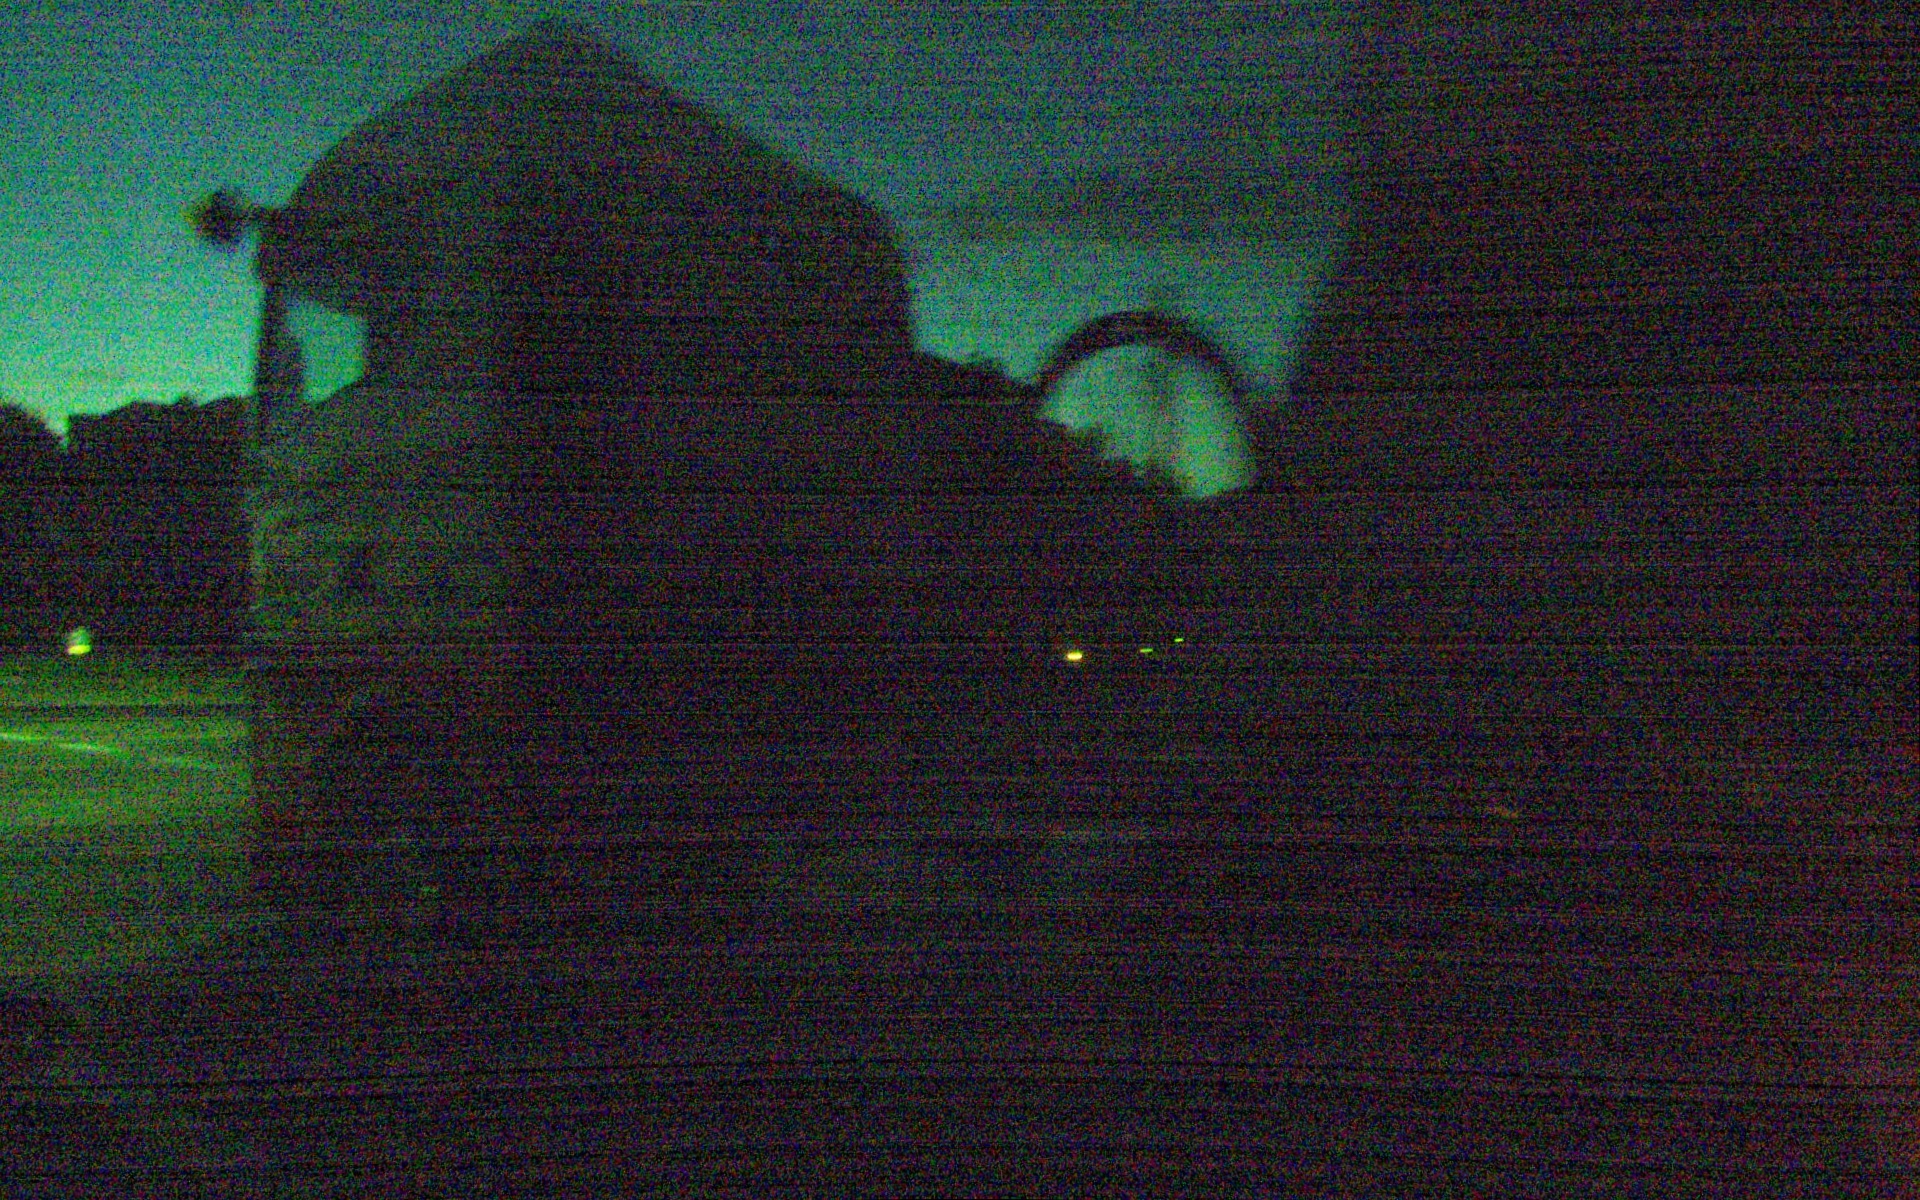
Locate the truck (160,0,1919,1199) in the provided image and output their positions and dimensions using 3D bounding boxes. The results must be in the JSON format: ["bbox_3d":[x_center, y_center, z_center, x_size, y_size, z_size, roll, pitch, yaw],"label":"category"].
[{"bbox_3d":[2.605,-0.797,2.196,12.953,4.159,2.683,-1,-1,32],"label":"truck"}]
